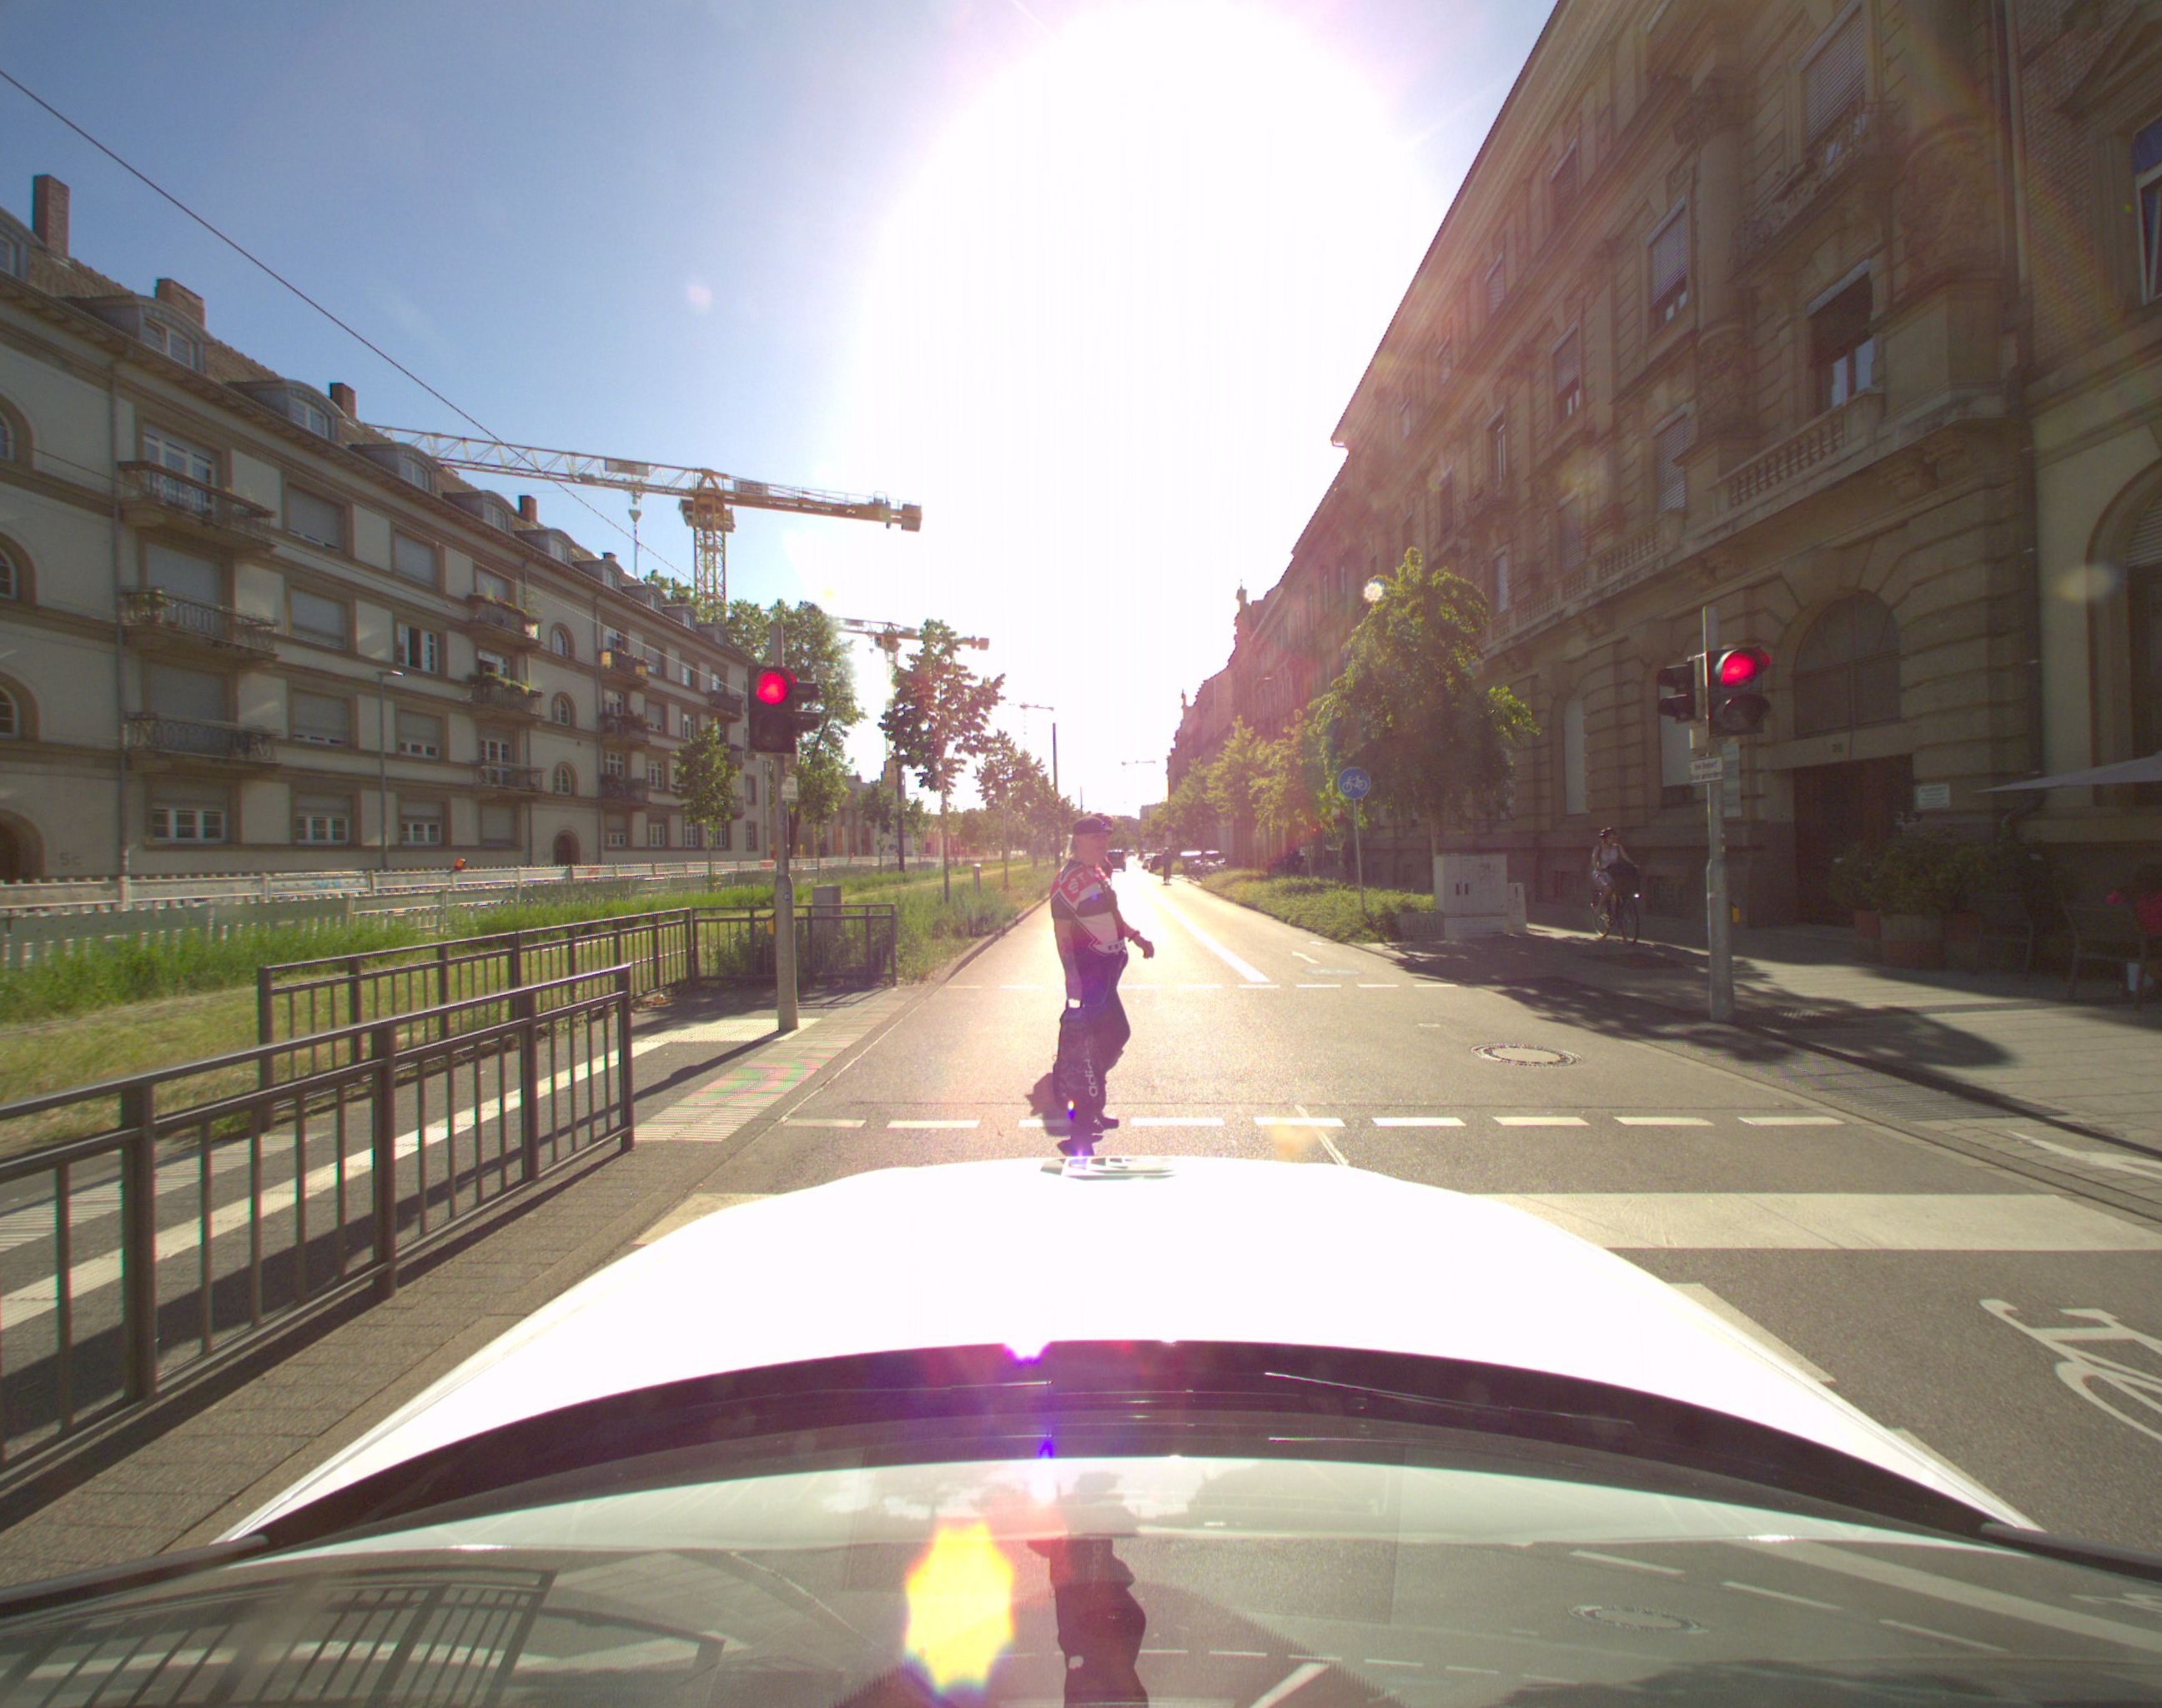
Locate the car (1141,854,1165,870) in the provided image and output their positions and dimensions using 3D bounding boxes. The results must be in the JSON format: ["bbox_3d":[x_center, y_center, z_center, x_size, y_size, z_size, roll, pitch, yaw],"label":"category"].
[{"bbox_3d":[6.991,0.737,79.789,2.020,1.499,4.532,-2,0,2],"label":"car"}]

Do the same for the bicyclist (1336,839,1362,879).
[{"bbox_3d":[10.867,0.206,33.063,0.657,1.530,0.801,-6,0,3],"label":"bicyclist"}]

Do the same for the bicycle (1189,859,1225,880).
[{"bbox_3d":[6.562,0.827,42.519,1.786,1.030,0.528,-2,0,1],"label":"bicycle"}]

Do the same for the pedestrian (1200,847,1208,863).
[{"bbox_3d":[12.672,0.108,83.950,0.611,1.611,0.669,-2,0,1],"label":"pedestrian"}]

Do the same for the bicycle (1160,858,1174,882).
[{"bbox_3d":[4.398,0.813,41.693,0.599,1.181,1.870,0,0,1],"label":"bicycle"}]

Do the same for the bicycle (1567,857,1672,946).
[{"bbox_3d":[8.193,0.685,12.478,0.580,1.222,1.905,-2,0,9],"label":"bicycle"}]

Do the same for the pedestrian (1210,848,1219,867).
[{"bbox_3d":[11.491,0.305,70.172,0.611,1.611,0.669,-2,0,1],"label":"pedestrian"}]

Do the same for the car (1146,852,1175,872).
[{"bbox_3d":[6.554,0.639,67.384,2.020,1.499,4.655,-2,0,2],"label":"car"}]

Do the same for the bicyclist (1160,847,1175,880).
[{"bbox_3d":[4.423,0.489,41.864,0.681,1.673,0.922,0,0,1],"label":"bicyclist"}]

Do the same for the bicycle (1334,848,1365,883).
[{"bbox_3d":[10.905,0.432,33.124,0.613,1.330,1.901,-6,0,3],"label":"bicycle"}]

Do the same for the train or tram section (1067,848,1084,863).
[{"bbox_3d":[-1.023,0.294,154.688,2.746,2.743,9.867,0,-1,2],"label":"train or tram section"}]

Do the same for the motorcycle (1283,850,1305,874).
[{"bbox_3d":[11.517,0.427,44.041,0.697,1.267,1.983,-2,0,2],"label":"motorcycle"}]

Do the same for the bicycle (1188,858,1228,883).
[{"bbox_3d":[6.177,0.809,39.521,1.786,1.030,0.528,-6,0,1],"label":"bicycle"}]

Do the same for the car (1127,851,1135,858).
[{"bbox_3d":[12.733,0.146,206.270,1.986,1.729,4.001,0,-1,2],"label":"car"}]

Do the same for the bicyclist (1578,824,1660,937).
[{"bbox_3d":[8.156,0.390,12.387,0.662,1.639,0.963,-2,0,9],"label":"bicyclist"}]

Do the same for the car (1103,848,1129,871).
[{"bbox_3d":[3.044,0.481,71.614,2.192,1.926,4.655,-2,0,2],"label":"car"}]

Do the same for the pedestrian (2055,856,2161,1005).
[{"bbox_3d":[9.103,0.628,6.972,0.703,1.178,0.635,-3,0,1],"label":"pedestrian"}]

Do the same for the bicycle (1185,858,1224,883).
[{"bbox_3d":[6.219,0.821,40.955,1.786,1.030,0.528,-6,0,1],"label":"bicycle"}]

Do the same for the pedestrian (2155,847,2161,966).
[{"bbox_3d":[9.983,0.540,6.962,0.703,1.236,0.635,-3,0,1],"label":"pedestrian"}]

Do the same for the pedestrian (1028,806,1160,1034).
[{"bbox_3d":[0.095,0.556,7.280,1.073,1.908,0.652,-2,0,-5],"label":"pedestrian"}]

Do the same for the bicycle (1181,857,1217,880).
[{"bbox_3d":[6.367,0.787,43.901,1.786,1.030,0.528,-6,0,1],"label":"bicycle"}]

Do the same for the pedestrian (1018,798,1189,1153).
[{"bbox_3d":[0.083,0.610,4.631,0.863,1.788,0.969,-1,0,-5],"label":"pedestrian"}]
